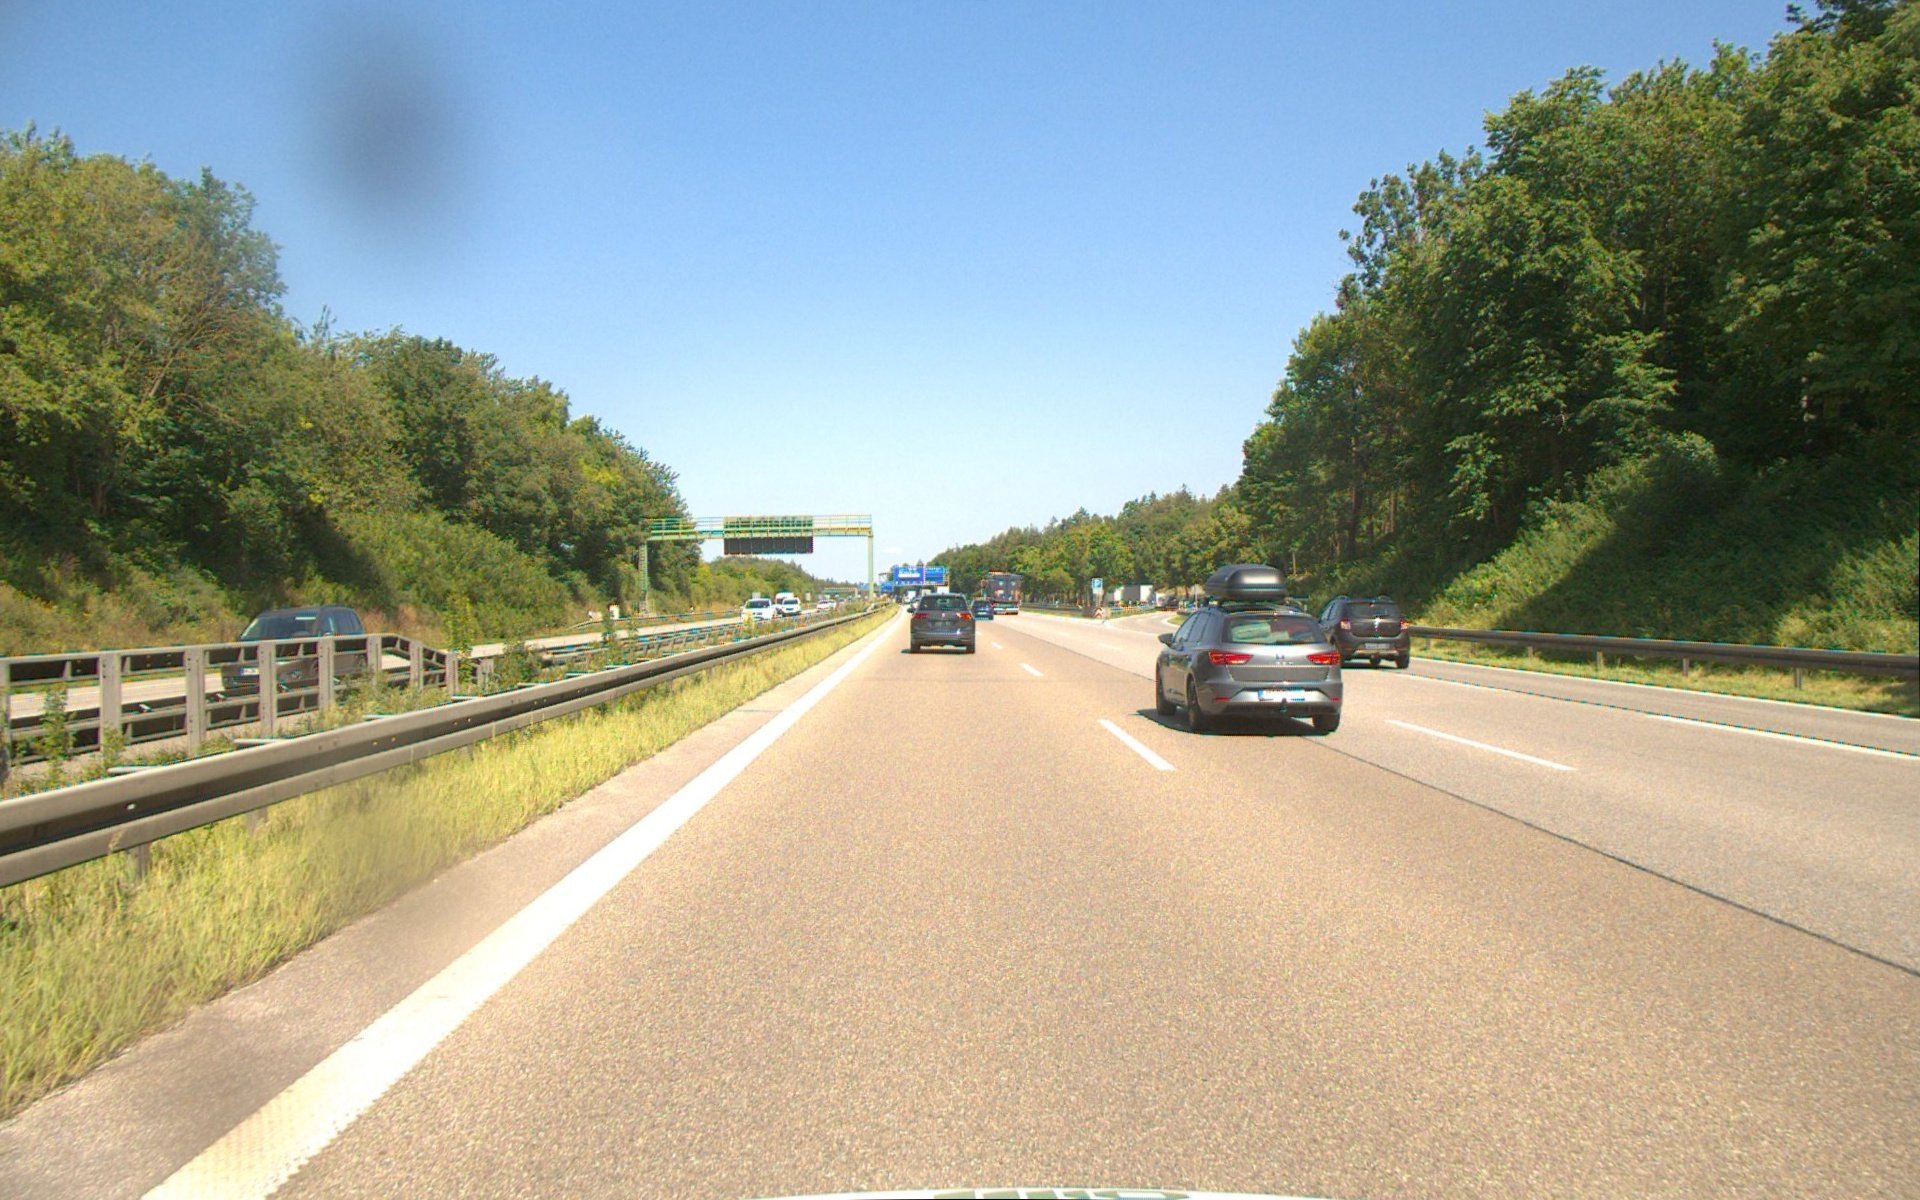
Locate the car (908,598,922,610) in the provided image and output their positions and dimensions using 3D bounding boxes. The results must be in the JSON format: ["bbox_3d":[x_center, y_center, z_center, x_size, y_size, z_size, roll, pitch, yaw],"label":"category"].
[{"bbox_3d":[-4.978,0.434,182.644,1.441,1.249,3.409,-1,0,-2],"label":"car"}]

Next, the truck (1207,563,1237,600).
[{"bbox_3d":[29.483,-2.081,186.312,3.215,4.016,9.359,-1,0,9],"label":"truck"}]

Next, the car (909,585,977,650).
[{"bbox_3d":[-0.436,0.456,46.178,1.762,1.698,4.259,1,0,1],"label":"car"}]

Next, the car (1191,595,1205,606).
[{"bbox_3d":[35.694,0.114,248.596,1.951,1.601,4.003,0,0,6],"label":"car"}]

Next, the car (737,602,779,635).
[{"bbox_3d":[-10.933,1.007,89.713,1.775,1.645,3.913,-3,0,0],"label":"car"}]

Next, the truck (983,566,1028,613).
[{"bbox_3d":[4.382,-1.002,162.310,3.704,4.499,14.045,0,0,-2],"label":"truck"}]

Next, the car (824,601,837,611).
[{"bbox_3d":[-19.984,0.950,255.593,1.632,1.489,3.881,-3,0,-2],"label":"car"}]

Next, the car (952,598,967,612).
[{"bbox_3d":[-0.094,0.515,174.555,1.441,1.422,3.409,2,0,-2],"label":"car"}]

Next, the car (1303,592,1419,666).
[{"bbox_3d":[9.268,0.620,38.569,1.728,1.595,4.259,1,0,1],"label":"car"}]

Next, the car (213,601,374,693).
[{"bbox_3d":[-13.392,0.895,33.481,1.624,1.645,3.913,-3,0,0],"label":"car"}]

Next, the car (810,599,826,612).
[{"bbox_3d":[-19.408,0.716,226.735,1.841,1.638,5.308,-2,0,-2],"label":"car"}]

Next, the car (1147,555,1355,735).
[{"bbox_3d":[3.432,0.466,20.356,1.631,1.909,4.827,-1,0,0],"label":"car"}]

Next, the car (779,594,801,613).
[{"bbox_3d":[-16.771,0.331,163.432,1.710,1.862,5.167,-2,0,-2],"label":"car"}]

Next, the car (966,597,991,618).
[{"bbox_3d":[1.299,0.522,117.782,1.728,1.406,4.259,1,0,1],"label":"car"}]
